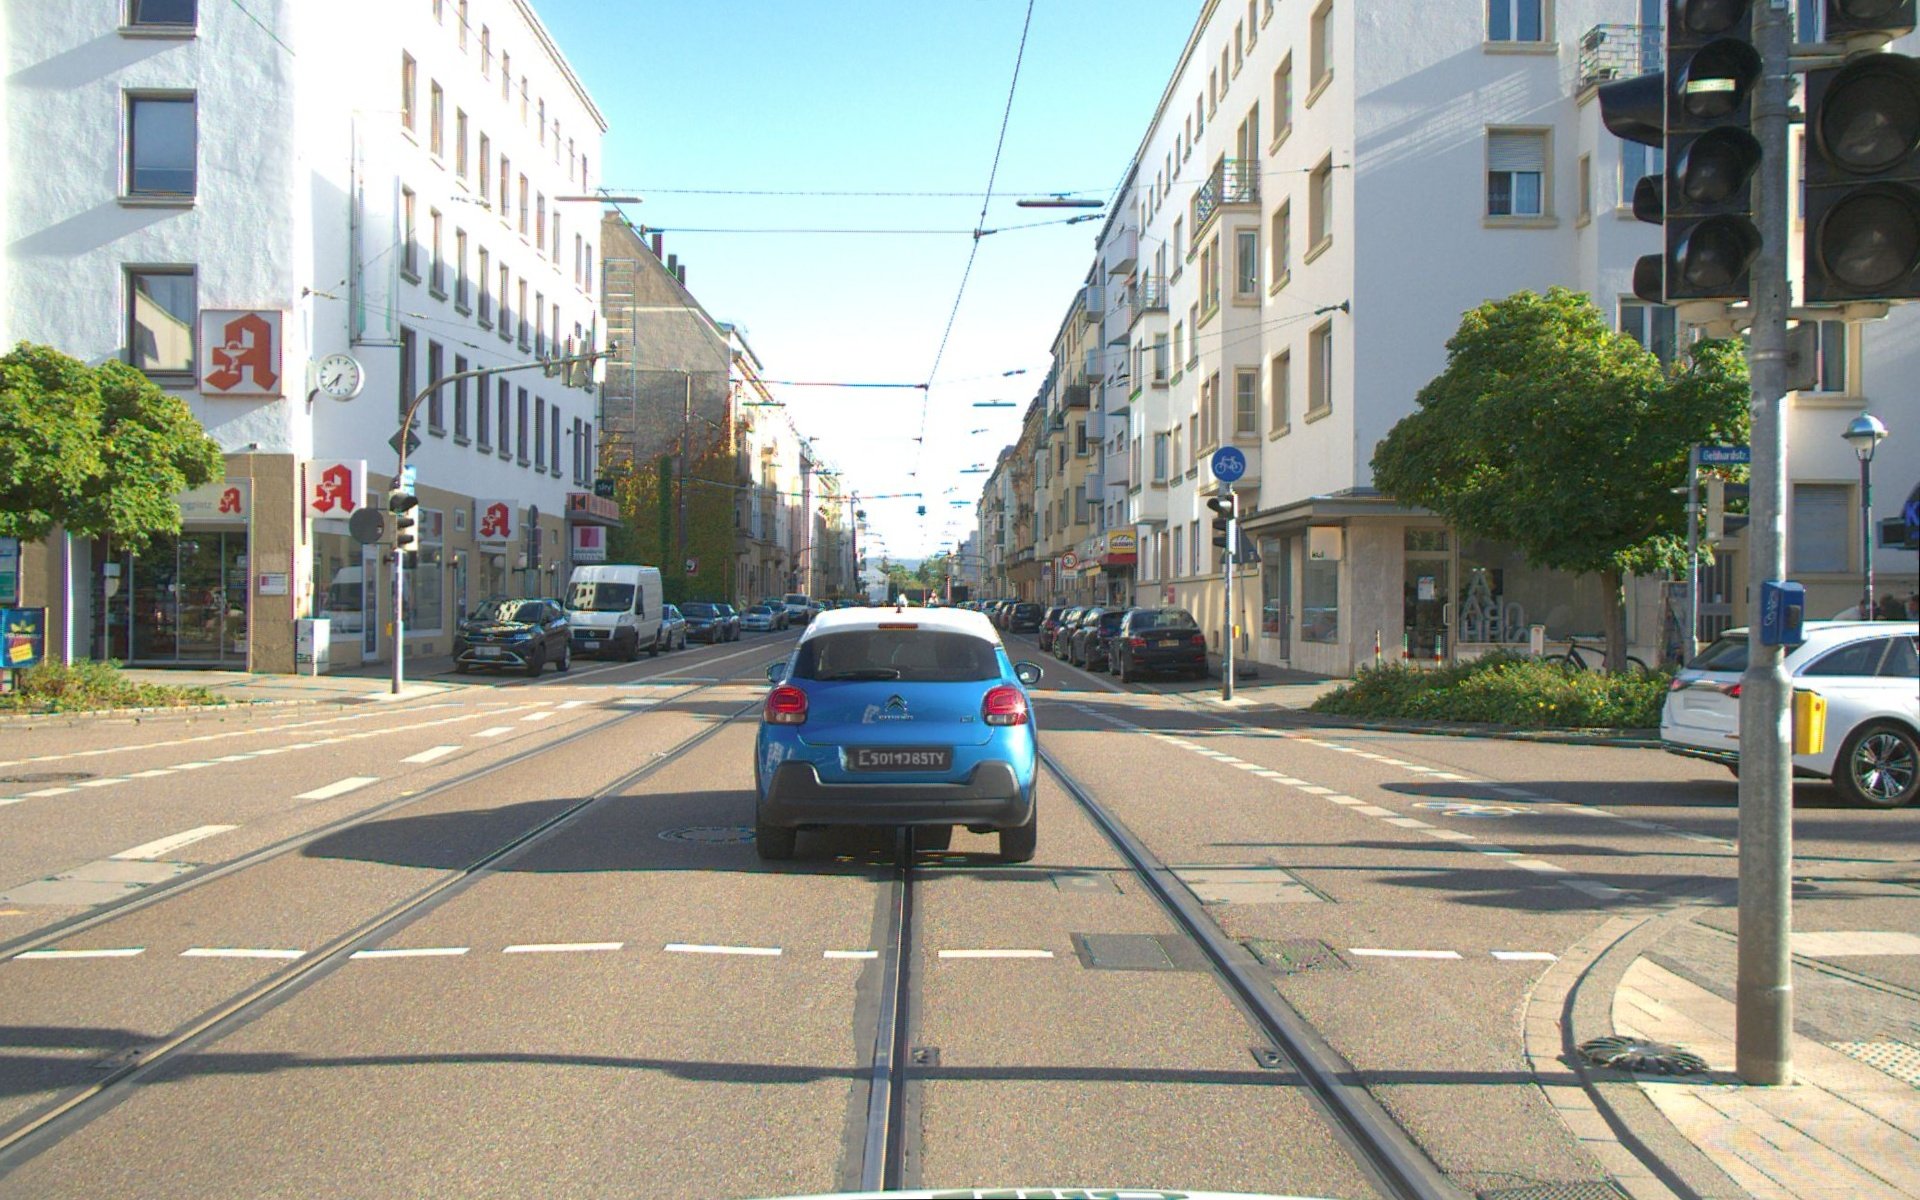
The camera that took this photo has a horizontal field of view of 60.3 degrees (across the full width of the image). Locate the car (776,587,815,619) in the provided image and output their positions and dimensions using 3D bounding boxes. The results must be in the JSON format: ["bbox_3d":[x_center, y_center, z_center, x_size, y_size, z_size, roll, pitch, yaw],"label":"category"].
[{"bbox_3d":[-10.814,0.207,109.090,1.965,2.049,4.690,1,-1,1],"label":"car"}]

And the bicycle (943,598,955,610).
[{"bbox_3d":[-1.289,0.484,192.592,0.900,1.413,3.134,0,0,9],"label":"bicycle"}]

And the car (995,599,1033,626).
[{"bbox_3d":[3.005,0.690,92.372,1.953,1.489,4.000,0,0,0],"label":"car"}]

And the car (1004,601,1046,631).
[{"bbox_3d":[3.276,0.787,84.571,1.953,1.489,4.504,0,0,0],"label":"car"}]

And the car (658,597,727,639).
[{"bbox_3d":[-9.719,0.648,60.318,1.953,1.422,4.155,1,-1,-2],"label":"car"}]

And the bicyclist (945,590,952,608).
[{"bbox_3d":[-1.359,-0.106,192.458,0.792,2.049,0.923,1,-1,3],"label":"bicyclist"}]

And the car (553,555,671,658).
[{"bbox_3d":[-9.379,0.172,45.109,2.043,2.586,6.203,1,0,-2],"label":"car"}]

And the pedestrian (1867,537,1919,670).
[{"bbox_3d":[13.451,0.052,23.630,0.639,1.871,0.659,0,0,2],"label":"pedestrian"}]

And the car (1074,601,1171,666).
[{"bbox_3d":[3.896,0.781,40.283,1.953,1.489,4.000,0,0,0],"label":"car"}]

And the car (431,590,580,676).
[{"bbox_3d":[-9.444,0.666,34.744,1.953,1.596,4.401,3,-1,-2],"label":"car"}]

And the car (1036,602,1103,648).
[{"bbox_3d":[3.610,0.810,55.240,1.953,1.489,4.000,0,0,0],"label":"car"}]

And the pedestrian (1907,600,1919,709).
[{"bbox_3d":[13.161,0.742,21.945,0.715,1.434,0.755,0,3,-1],"label":"pedestrian"}]

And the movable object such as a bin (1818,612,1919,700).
[{"bbox_3d":[12.774,0.762,22.896,1.174,1.173,1.217,0,0,0],"label":"movable object such as a bin"}]

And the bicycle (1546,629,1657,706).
[{"bbox_3d":[9.763,1.024,25.208,1.534,1.140,0.300,1,-1,10],"label":"bicycle"}]

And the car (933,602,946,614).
[{"bbox_3d":[-3.196,1.200,253.630,1.953,1.803,3.999,0,0,-1],"label":"car"}]

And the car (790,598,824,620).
[{"bbox_3d":[-11.021,0.653,119.412,1.914,1.579,3.939,1,-1,1],"label":"car"}]

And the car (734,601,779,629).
[{"bbox_3d":[-10.498,0.770,85.588,1.953,1.348,3.921,1,-1,-2],"label":"car"}]

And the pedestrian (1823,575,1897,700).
[{"bbox_3d":[13.626,0.558,25.062,0.768,1.871,0.678,0,0,2],"label":"pedestrian"}]

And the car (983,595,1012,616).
[{"bbox_3d":[2.627,0.388,115.881,1.953,1.489,4.000,0,0,0],"label":"car"}]

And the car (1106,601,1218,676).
[{"bbox_3d":[4.202,0.771,34.937,1.870,1.489,4.000,0,0,0],"label":"car"}]

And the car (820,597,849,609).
[{"bbox_3d":[-12.682,0.340,167.118,1.951,1.176,4.518,0,0,8],"label":"car"}]

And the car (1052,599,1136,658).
[{"bbox_3d":[3.612,0.741,45.226,1.953,1.527,4.000,0,0,0],"label":"car"}]

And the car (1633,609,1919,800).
[{"bbox_3d":[8.537,0.865,14.228,4.705,1.490,1.989,1,0,-4],"label":"car"}]

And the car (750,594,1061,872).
[{"bbox_3d":[-0.329,0.737,11.039,1.693,1.508,3.826,1,0,-1],"label":"car"}]

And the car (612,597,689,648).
[{"bbox_3d":[-9.684,0.691,51.979,1.850,1.522,3.560,1,-1,-2],"label":"car"}]

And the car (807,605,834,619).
[{"bbox_3d":[-11.481,0.993,136.431,1.953,1.176,4.000,0,0,0],"label":"car"}]
